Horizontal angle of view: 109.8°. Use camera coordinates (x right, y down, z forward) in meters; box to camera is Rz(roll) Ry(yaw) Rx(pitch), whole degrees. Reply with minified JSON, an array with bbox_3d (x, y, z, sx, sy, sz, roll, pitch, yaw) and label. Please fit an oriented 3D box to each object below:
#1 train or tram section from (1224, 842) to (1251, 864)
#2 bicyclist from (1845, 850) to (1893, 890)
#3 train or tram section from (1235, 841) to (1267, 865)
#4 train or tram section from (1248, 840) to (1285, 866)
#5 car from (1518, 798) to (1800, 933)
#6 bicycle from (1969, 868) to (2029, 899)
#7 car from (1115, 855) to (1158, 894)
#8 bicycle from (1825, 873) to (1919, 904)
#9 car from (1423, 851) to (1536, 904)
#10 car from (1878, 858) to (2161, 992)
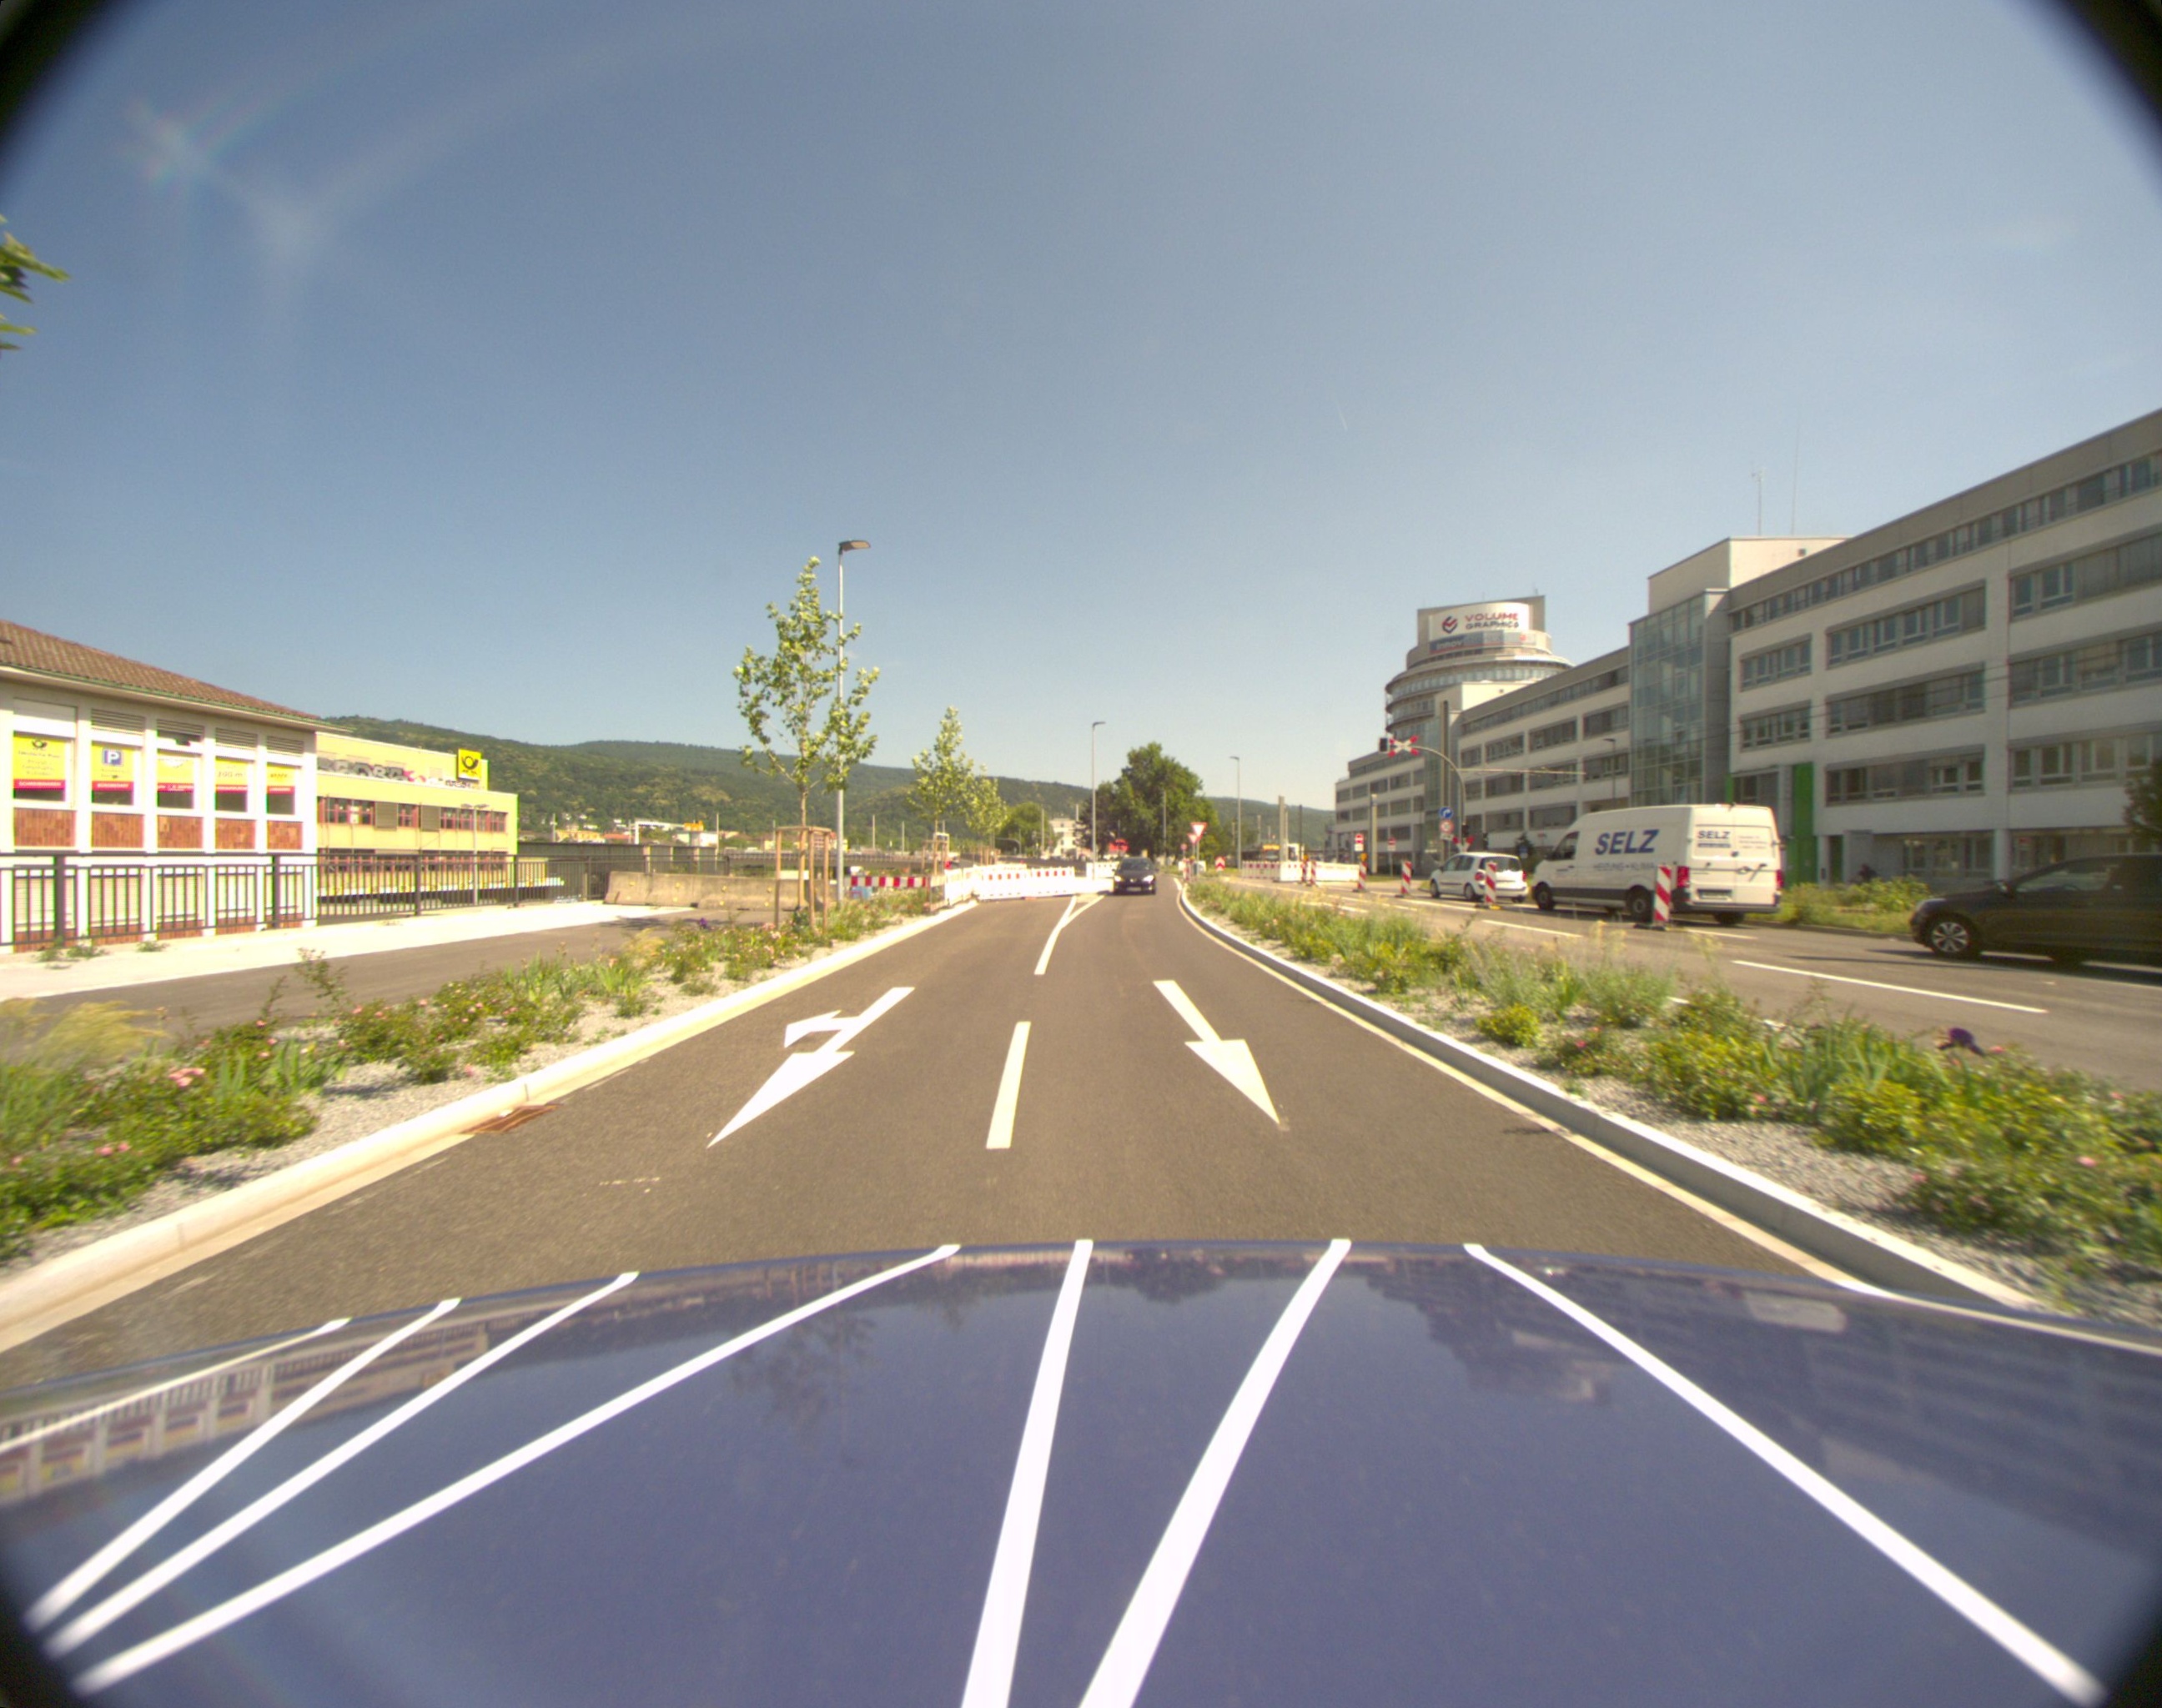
[{"bbox_3d":[26.590,-0.225,129.361,2.631,3.430,11.782,-2,0,2],"label":"train or tram section"},{"bbox_3d":[30.639,0.607,29.566,0.756,1.530,1.077,-1,1,2],"label":"bicyclist"},{"bbox_3d":[26.161,-0.200,117.599,2.631,3.430,11.782,-2,0,2],"label":"train or tram section"},{"bbox_3d":[25.664,-0.165,105.840,2.631,3.430,11.782,-2,0,2],"label":"train or tram section"},{"bbox_3d":[13.106,0.225,17.994,2.035,2.563,6.195,2,0,2],"label":"car"},{"bbox_3d":[37.499,1.203,31.060,1.650,1.182,0.522,-2,0,6],"label":"bicycle"},{"bbox_3d":[2.134,0.760,29.958,1.618,1.433,3.707,0,1,3],"label":"car"},{"bbox_3d":[30.648,1.308,29.515,0.756,1.012,2.831,-1,1,2],"label":"bicycle"},{"bbox_3d":[12.831,0.707,24.765,1.584,1.532,3.978,2,0,1],"label":"car"},{"bbox_3d":[12.611,0.805,9.188,1.549,1.448,4.193,2,0,1],"label":"car"}]
